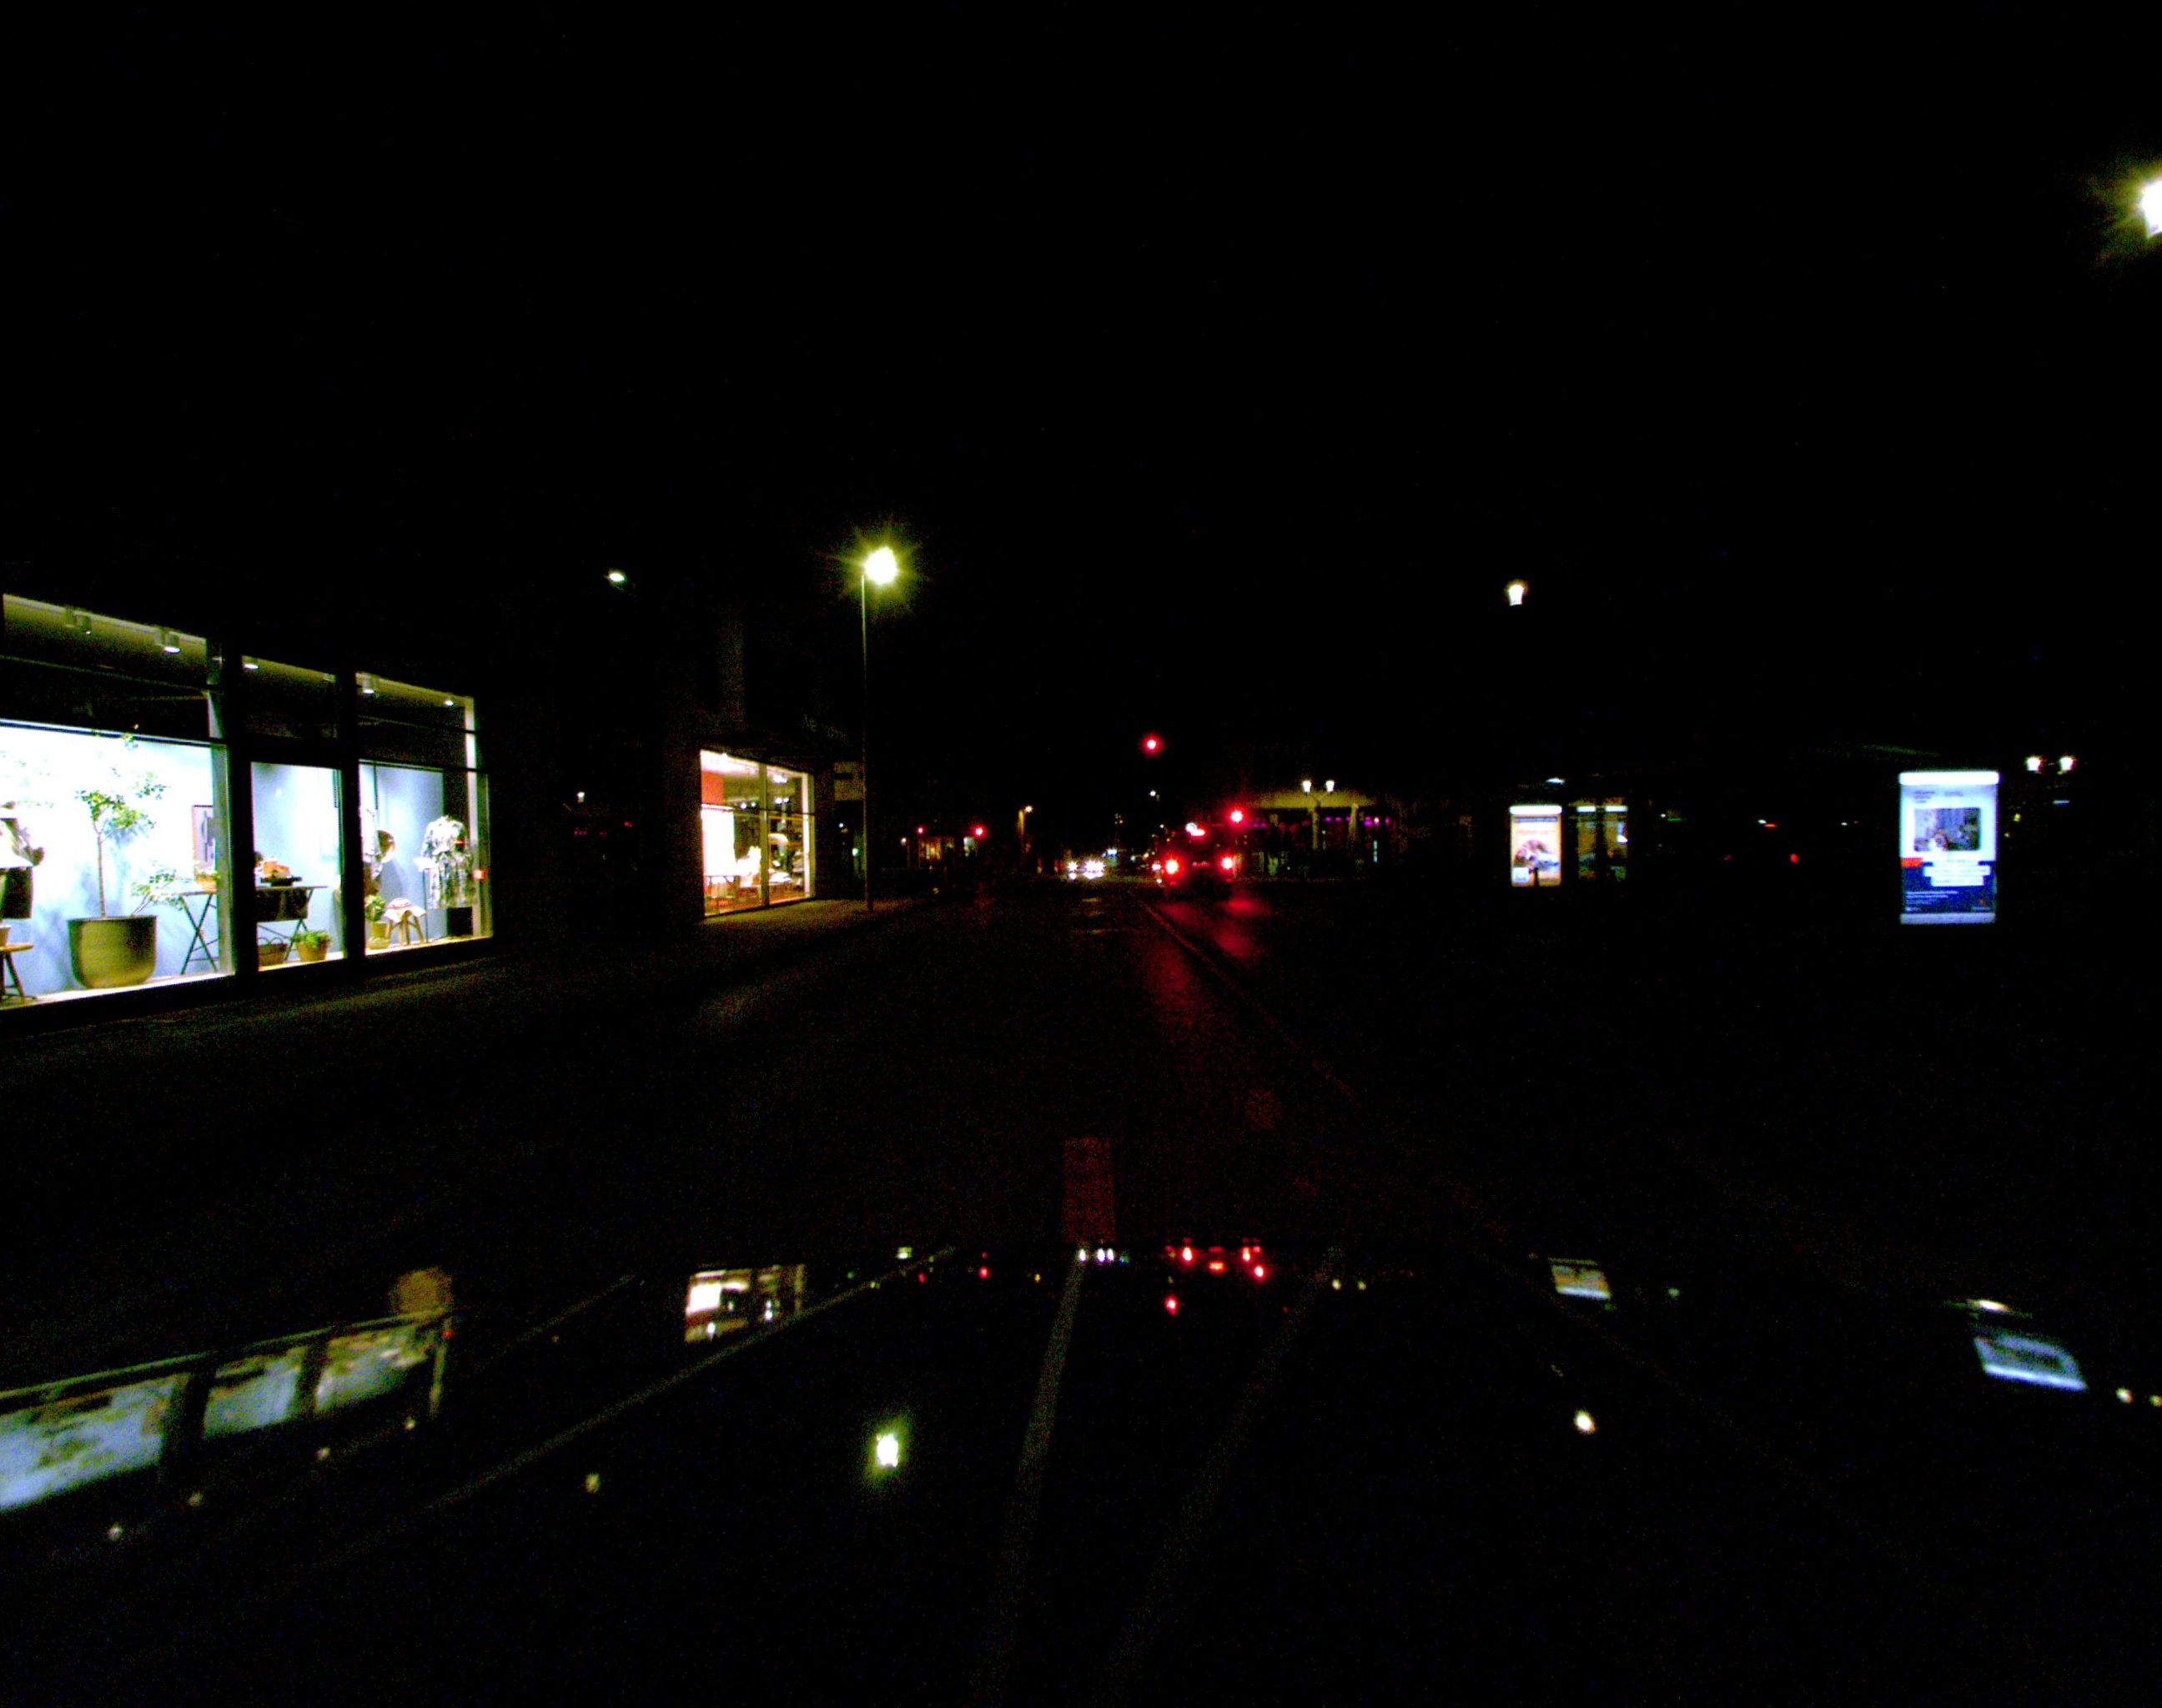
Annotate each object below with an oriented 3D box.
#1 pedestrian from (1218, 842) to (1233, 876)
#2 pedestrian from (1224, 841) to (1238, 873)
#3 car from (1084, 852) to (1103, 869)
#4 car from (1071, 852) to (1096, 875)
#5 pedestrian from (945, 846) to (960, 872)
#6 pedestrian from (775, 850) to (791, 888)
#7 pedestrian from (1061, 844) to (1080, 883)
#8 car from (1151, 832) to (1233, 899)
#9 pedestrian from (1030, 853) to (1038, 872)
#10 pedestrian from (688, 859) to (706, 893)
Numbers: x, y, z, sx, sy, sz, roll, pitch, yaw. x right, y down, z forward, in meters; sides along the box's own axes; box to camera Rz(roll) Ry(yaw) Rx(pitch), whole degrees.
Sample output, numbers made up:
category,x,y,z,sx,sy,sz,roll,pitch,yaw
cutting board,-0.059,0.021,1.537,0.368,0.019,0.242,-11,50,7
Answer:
category,x,y,z,sx,sy,sz,roll,pitch,yaw
pedestrian,7.041,0.235,36.984,0.646,1.619,0.583,-2,1,10
pedestrian,7.667,0.159,38.795,0.646,1.619,0.583,-2,1,11
car,1.314,0.676,80.112,1.879,1.718,3.999,-2,1,1
car,0.239,0.710,60.288,1.713,1.660,3.738,-2,1,3
pedestrian,-8.483,0.308,50.130,0.877,1.723,0.647,0,1,4
pedestrian,-13.344,0.666,34.043,0.407,1.677,0.487,-2,1,5
pedestrian,-0.459,0.413,33.538,0.539,1.672,0.648,-2,1,23
car,3.304,0.297,23.622,1.971,1.861,4.912,-1,1,2
pedestrian,-3.720,0.641,60.009,0.647,1.487,0.829,0,1,-2
pedestrian,-19.745,1.144,39.048,0.524,1.707,0.567,-2,1,8
